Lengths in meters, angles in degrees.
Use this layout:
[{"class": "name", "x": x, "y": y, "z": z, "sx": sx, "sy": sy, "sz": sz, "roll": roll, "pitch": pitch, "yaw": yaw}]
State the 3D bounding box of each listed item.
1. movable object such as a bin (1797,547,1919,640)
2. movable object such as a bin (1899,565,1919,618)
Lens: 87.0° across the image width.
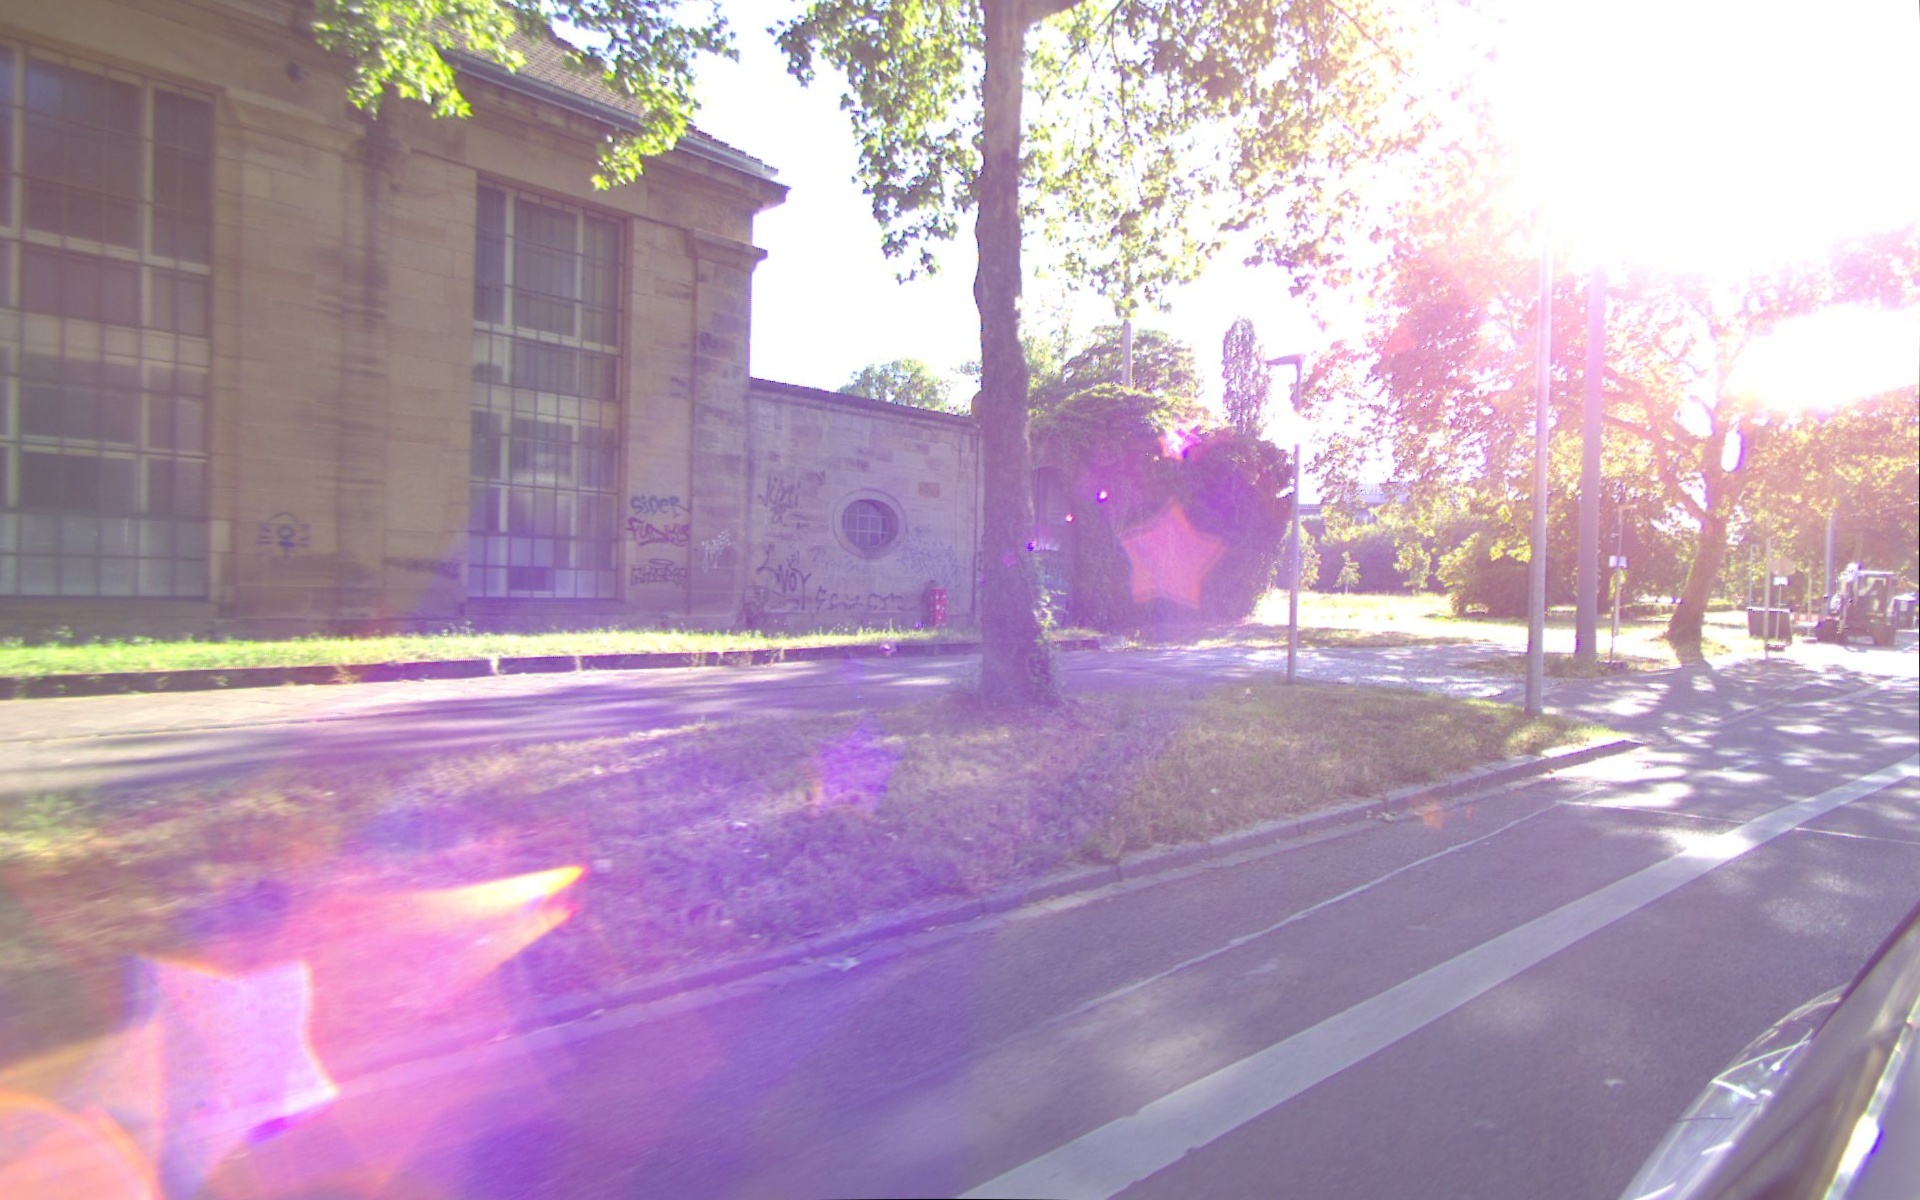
[{"class": "movable object such as a bin", "x": 35.049, "y": -0.241, "z": 39.325, "sx": 7.096, "sy": 3.183, "sz": 2.749, "roll": 1, "pitch": 4, "yaw": -43}, {"class": "movable object such as a bin", "x": 76.939, "y": -0.590, "z": 80.165, "sx": 3.341, "sy": 4.024, "sz": 7.477, "roll": 6, "pitch": 4, "yaw": 44}]
